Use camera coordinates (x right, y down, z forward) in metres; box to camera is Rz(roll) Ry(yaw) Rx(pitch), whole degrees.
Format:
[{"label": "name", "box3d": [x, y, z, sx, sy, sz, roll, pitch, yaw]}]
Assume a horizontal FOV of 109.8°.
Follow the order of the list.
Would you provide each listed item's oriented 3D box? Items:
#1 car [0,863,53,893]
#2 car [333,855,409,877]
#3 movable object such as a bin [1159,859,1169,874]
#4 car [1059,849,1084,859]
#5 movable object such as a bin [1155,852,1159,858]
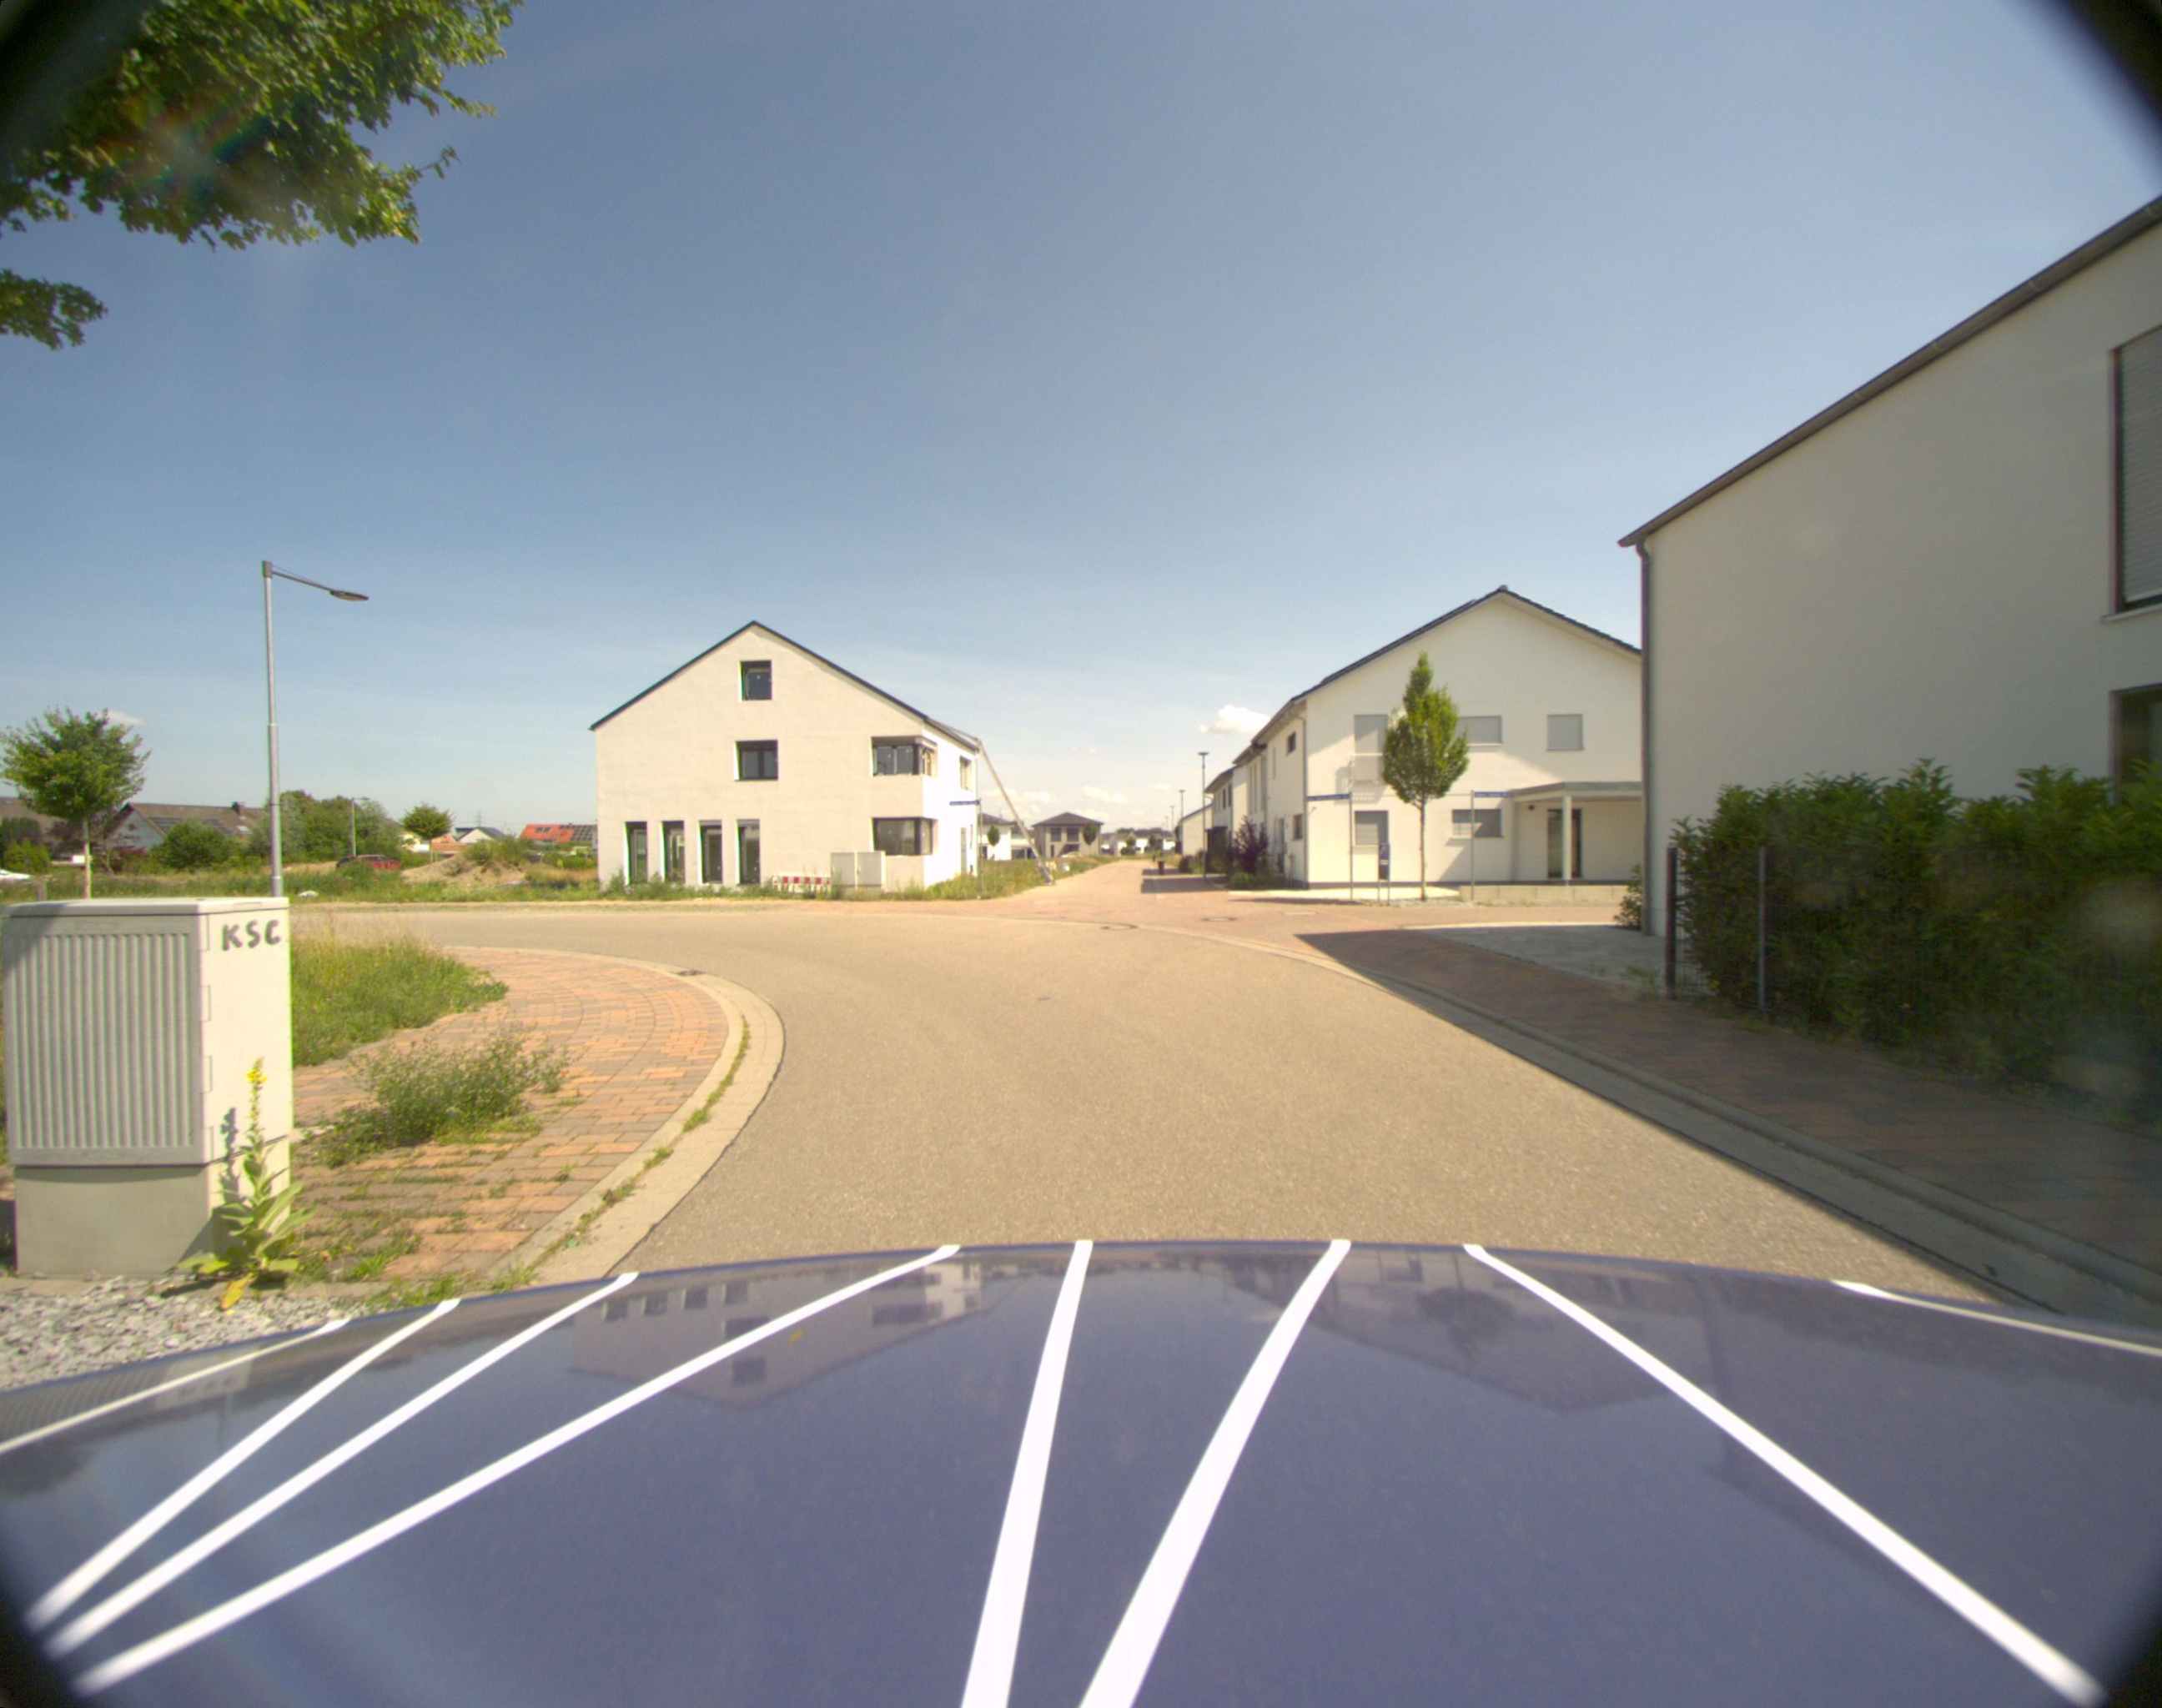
[{"label": "car", "box3d": [-55.813, 1.248, 38.487, 1.807, 1.494, 4.002, -1, 1, 9]}, {"label": "car", "box3d": [-53.725, 0.892, 57.590, 1.807, 1.606, 4.001, -1, 1, 5]}, {"label": "movable object such as a bin", "box3d": [5.038, 0.739, 46.073, 0.597, 0.916, 0.462, -1, 1, 6]}, {"label": "car", "box3d": [-1.547, -0.053, 121.256, 3.998, 1.543, 1.834, -1, 1, -3]}, {"label": "movable object such as a bin", "box3d": [11.753, 0.196, 117.052, 0.597, 0.916, 0.462, -1, 1, 6]}]
